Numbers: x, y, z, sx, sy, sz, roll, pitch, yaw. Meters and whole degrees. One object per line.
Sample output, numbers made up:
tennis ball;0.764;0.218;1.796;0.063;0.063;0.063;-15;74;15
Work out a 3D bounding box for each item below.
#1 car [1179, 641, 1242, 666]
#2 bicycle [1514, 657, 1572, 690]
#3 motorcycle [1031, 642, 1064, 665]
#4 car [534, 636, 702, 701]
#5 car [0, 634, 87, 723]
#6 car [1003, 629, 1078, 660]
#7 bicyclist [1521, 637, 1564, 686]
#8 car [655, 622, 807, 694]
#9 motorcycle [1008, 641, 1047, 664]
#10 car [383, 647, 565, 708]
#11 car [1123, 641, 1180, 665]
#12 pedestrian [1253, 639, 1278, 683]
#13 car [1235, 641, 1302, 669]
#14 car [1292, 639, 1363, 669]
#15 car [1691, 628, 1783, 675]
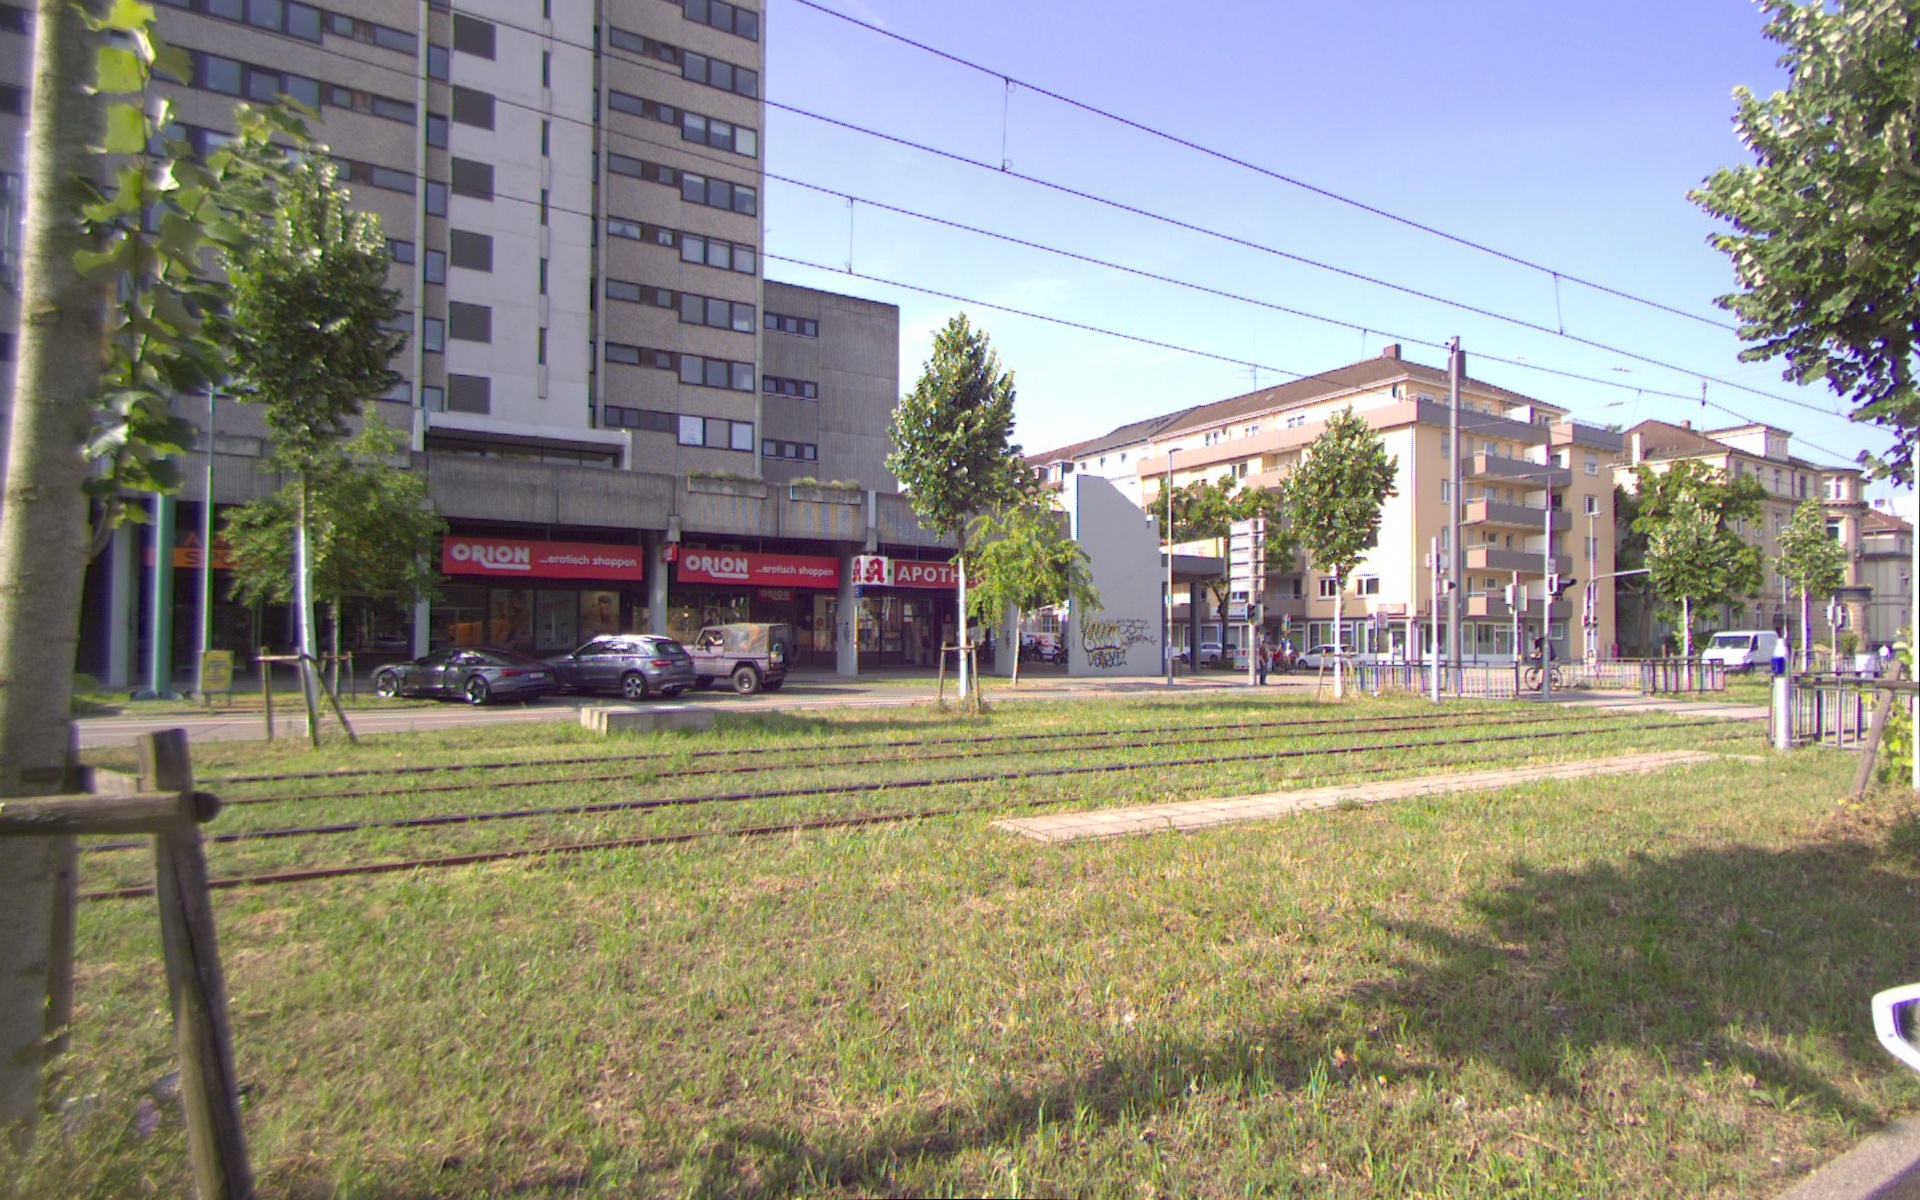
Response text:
car;16.682;3.550;67.121;1.797;1.625;3.916;2;-2;-34
bicycle;17.292;2.188;29.814;0.547;0.947;1.611;-1;-4;-10
motorcycle;4.522;2.766;51.994;1.658;1.180;0.626;2;-2;-30
car;-9.315;1.825;27.385;4.031;1.627;1.880;0;-2;20
car;-20.442;1.549;20.473;3.919;1.604;2.104;1;0;13
car;5.383;2.979;67.154;4.778;1.994;1.984;3;-3;-31
bicyclist;17.280;1.834;29.806;0.536;1.413;0.972;-1;-4;-10
car;-6.797;1.687;29.869;4.031;1.994;1.880;0;-2;20
motorcycle;3.794;2.916;56.230;2.116;1.269;0.820;2;-2;-30
car;-12.330;1.920;25.525;4.031;1.261;1.879;1;0;20
car;13.624;3.732;71.558;1.797;1.625;3.915;2;-2;-35
pedestrian;11.955;2.382;39.320;0.637;1.712;0.656;1;-2;-27
car;19.286;3.410;62.914;1.756;1.711;3.765;2;-2;-33
car;21.572;3.146;58.991;1.691;1.604;3.601;-1;-1;-34
car;39.939;2.626;51.581;5.275;2.268;2.035;2;-2;-32
